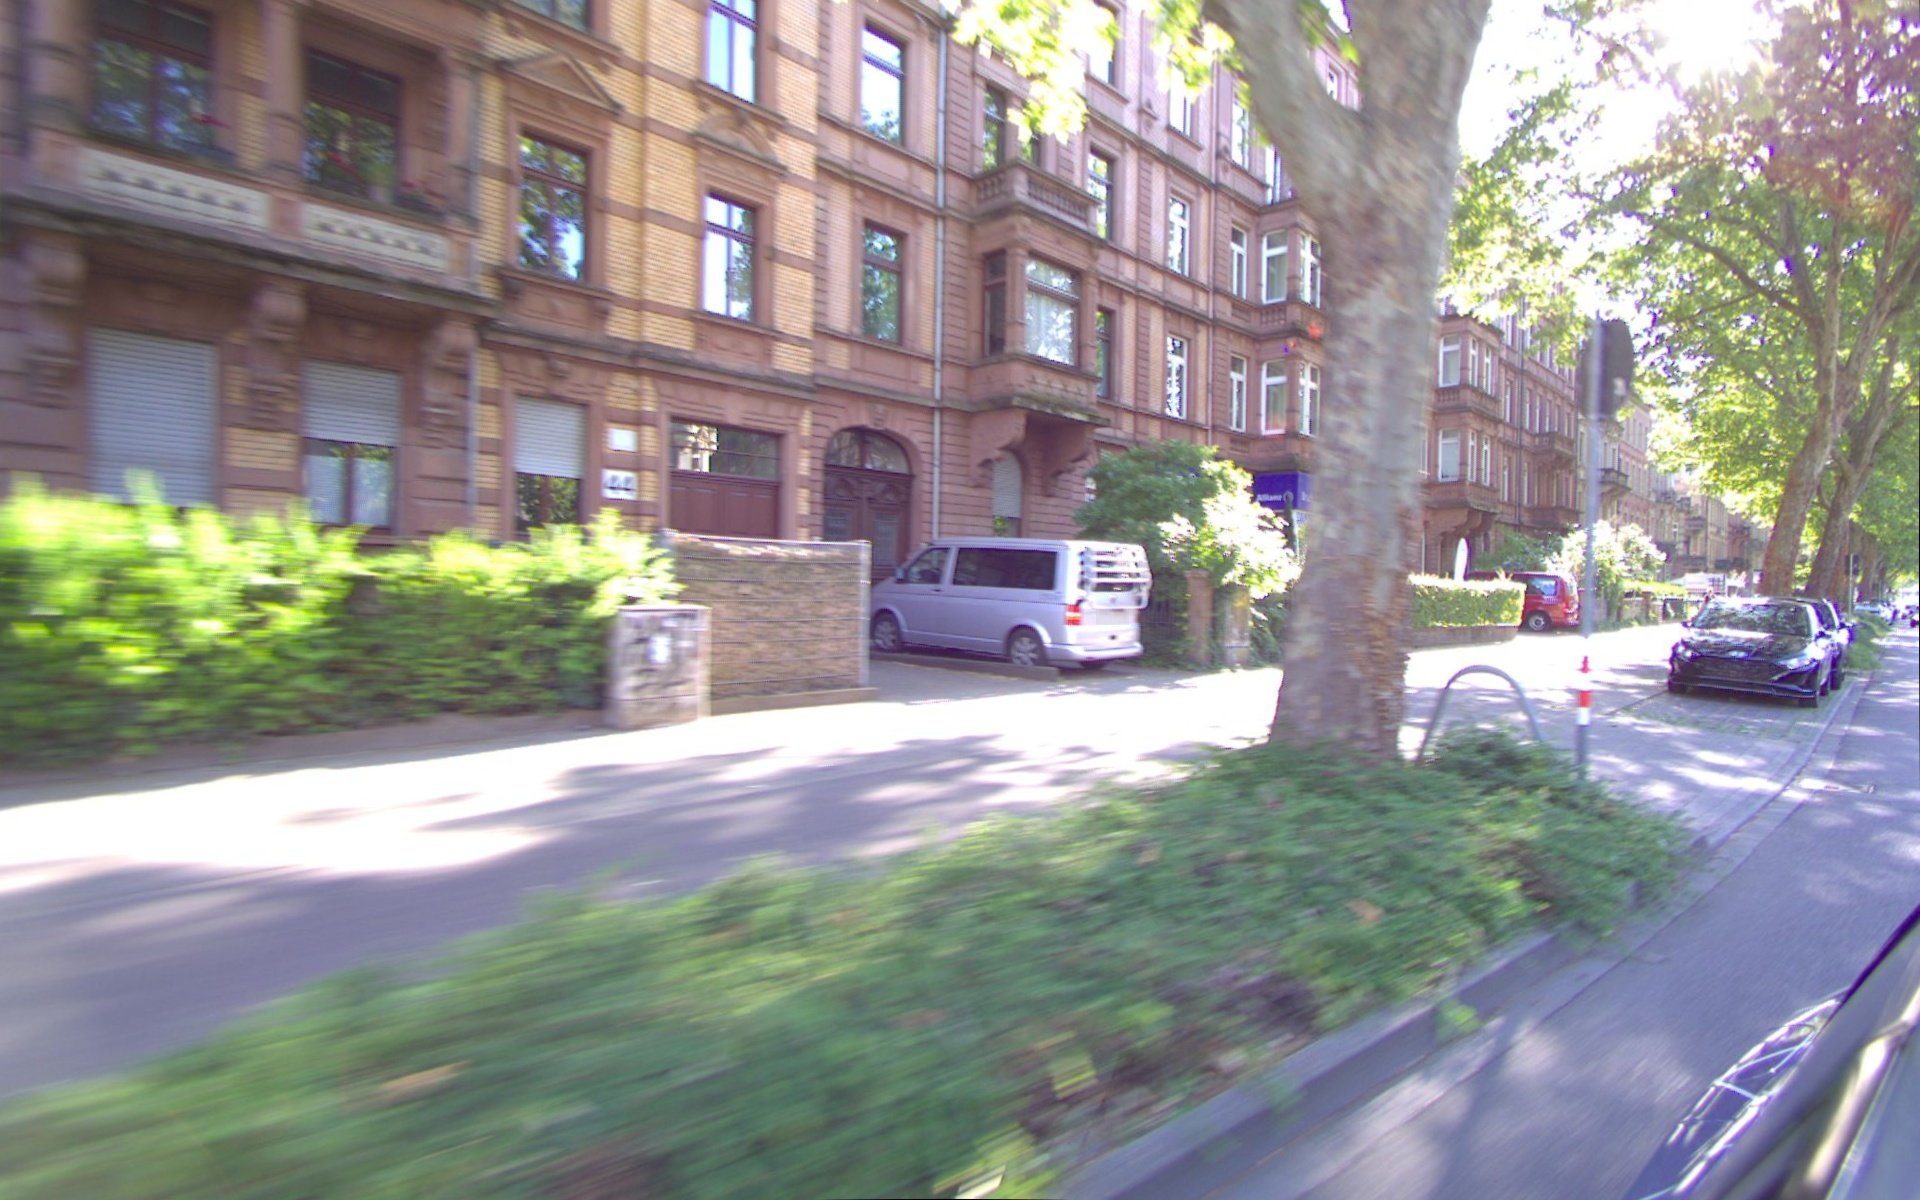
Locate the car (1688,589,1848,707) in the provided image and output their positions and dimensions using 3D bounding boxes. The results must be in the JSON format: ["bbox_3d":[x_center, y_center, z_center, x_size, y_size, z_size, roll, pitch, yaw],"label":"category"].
[{"bbox_3d":[12.374,0.616,15.411,1.552,1.517,3.987,3,3,43],"label":"car"}]

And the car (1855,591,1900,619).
[{"bbox_3d":[54.102,0.266,59.640,1.733,1.556,4.727,2,1,45],"label":"car"}]

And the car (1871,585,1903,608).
[{"bbox_3d":[83.978,-0.309,91.716,1.993,2.038,5.122,3,2,42],"label":"car"}]

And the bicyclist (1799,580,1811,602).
[{"bbox_3d":[54.880,-0.581,65.702,0.542,1.398,0.634,-1,-2,42],"label":"bicyclist"}]

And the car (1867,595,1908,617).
[{"bbox_3d":[59.045,0.357,64.415,1.830,1.343,3.937,2,2,44],"label":"car"}]

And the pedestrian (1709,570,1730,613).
[{"bbox_3d":[36.270,-0.404,48.343,0.673,2.039,0.623,2,1,44],"label":"pedestrian"}]

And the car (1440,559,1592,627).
[{"bbox_3d":[19.169,-0.299,34.979,4.177,2.038,1.969,5,4,43],"label":"car"}]

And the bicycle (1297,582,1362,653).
[{"bbox_3d":[6.841,0.305,18.709,1.736,1.266,0.338,0,-1,-42],"label":"bicycle"}]

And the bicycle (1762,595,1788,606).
[{"bbox_3d":[70.368,0.021,87.421,1.684,0.928,0.595,2,1,33],"label":"bicycle"}]

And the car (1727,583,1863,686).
[{"bbox_3d":[15.276,0.535,18.434,1.616,1.606,4.348,3,3,43],"label":"car"}]

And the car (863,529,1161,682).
[{"bbox_3d":[0.681,-0.042,16.022,4.575,2.038,1.884,4,3,44],"label":"car"}]

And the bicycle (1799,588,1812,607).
[{"bbox_3d":[54.857,-0.141,65.666,0.560,1.193,2.192,-1,-1,42],"label":"bicycle"}]
